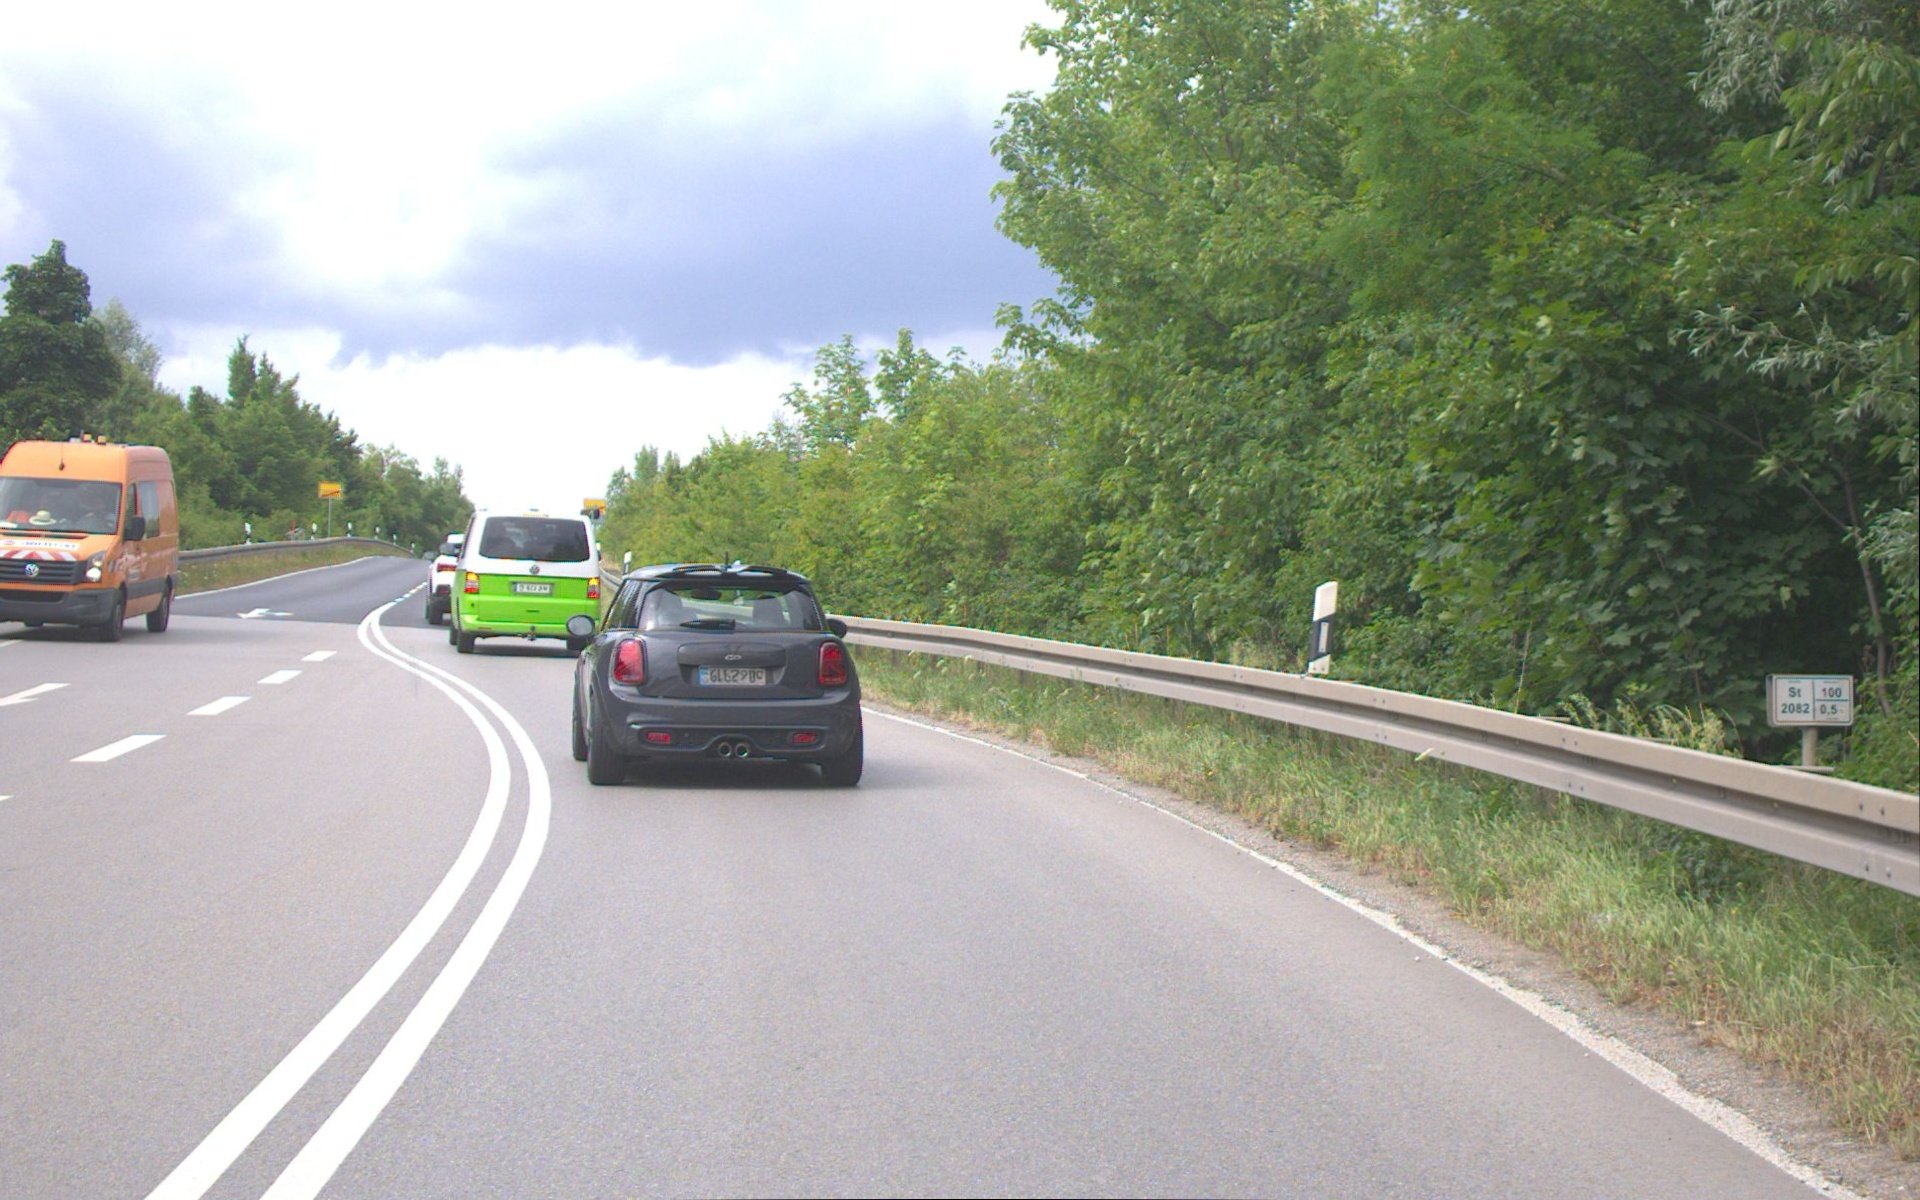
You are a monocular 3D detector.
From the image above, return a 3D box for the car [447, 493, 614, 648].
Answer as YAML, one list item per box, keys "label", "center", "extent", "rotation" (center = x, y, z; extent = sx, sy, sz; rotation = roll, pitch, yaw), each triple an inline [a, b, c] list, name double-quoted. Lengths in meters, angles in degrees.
- label: "car"
  center: [-5.905, -0.426, 46.884]
  extent: [2.022, 2.006, 4.001]
  rotation: [0, 1, -10]

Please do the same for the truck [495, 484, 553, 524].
- label: "truck"
  center: [-27.064, -5.941, 213.608]
  extent: [2.909, 2.364, 10.453]
  rotation: [1, 1, -4]

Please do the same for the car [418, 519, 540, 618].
- label: "car"
  center: [-8.319, -0.565, 59.222]
  extent: [1.987, 1.613, 4.154]
  rotation: [1, 1, -9]

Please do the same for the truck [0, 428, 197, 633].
- label: "truck"
  center: [-12.062, -0.968, 46.786]
  extent: [2.316, 2.592, 6.024]
  rotation: [1, 1, -3]

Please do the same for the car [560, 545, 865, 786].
- label: "car"
  center: [-1.762, 0.382, 23.294]
  extent: [1.731, 1.451, 4.001]
  rotation: [1, 1, -8]
